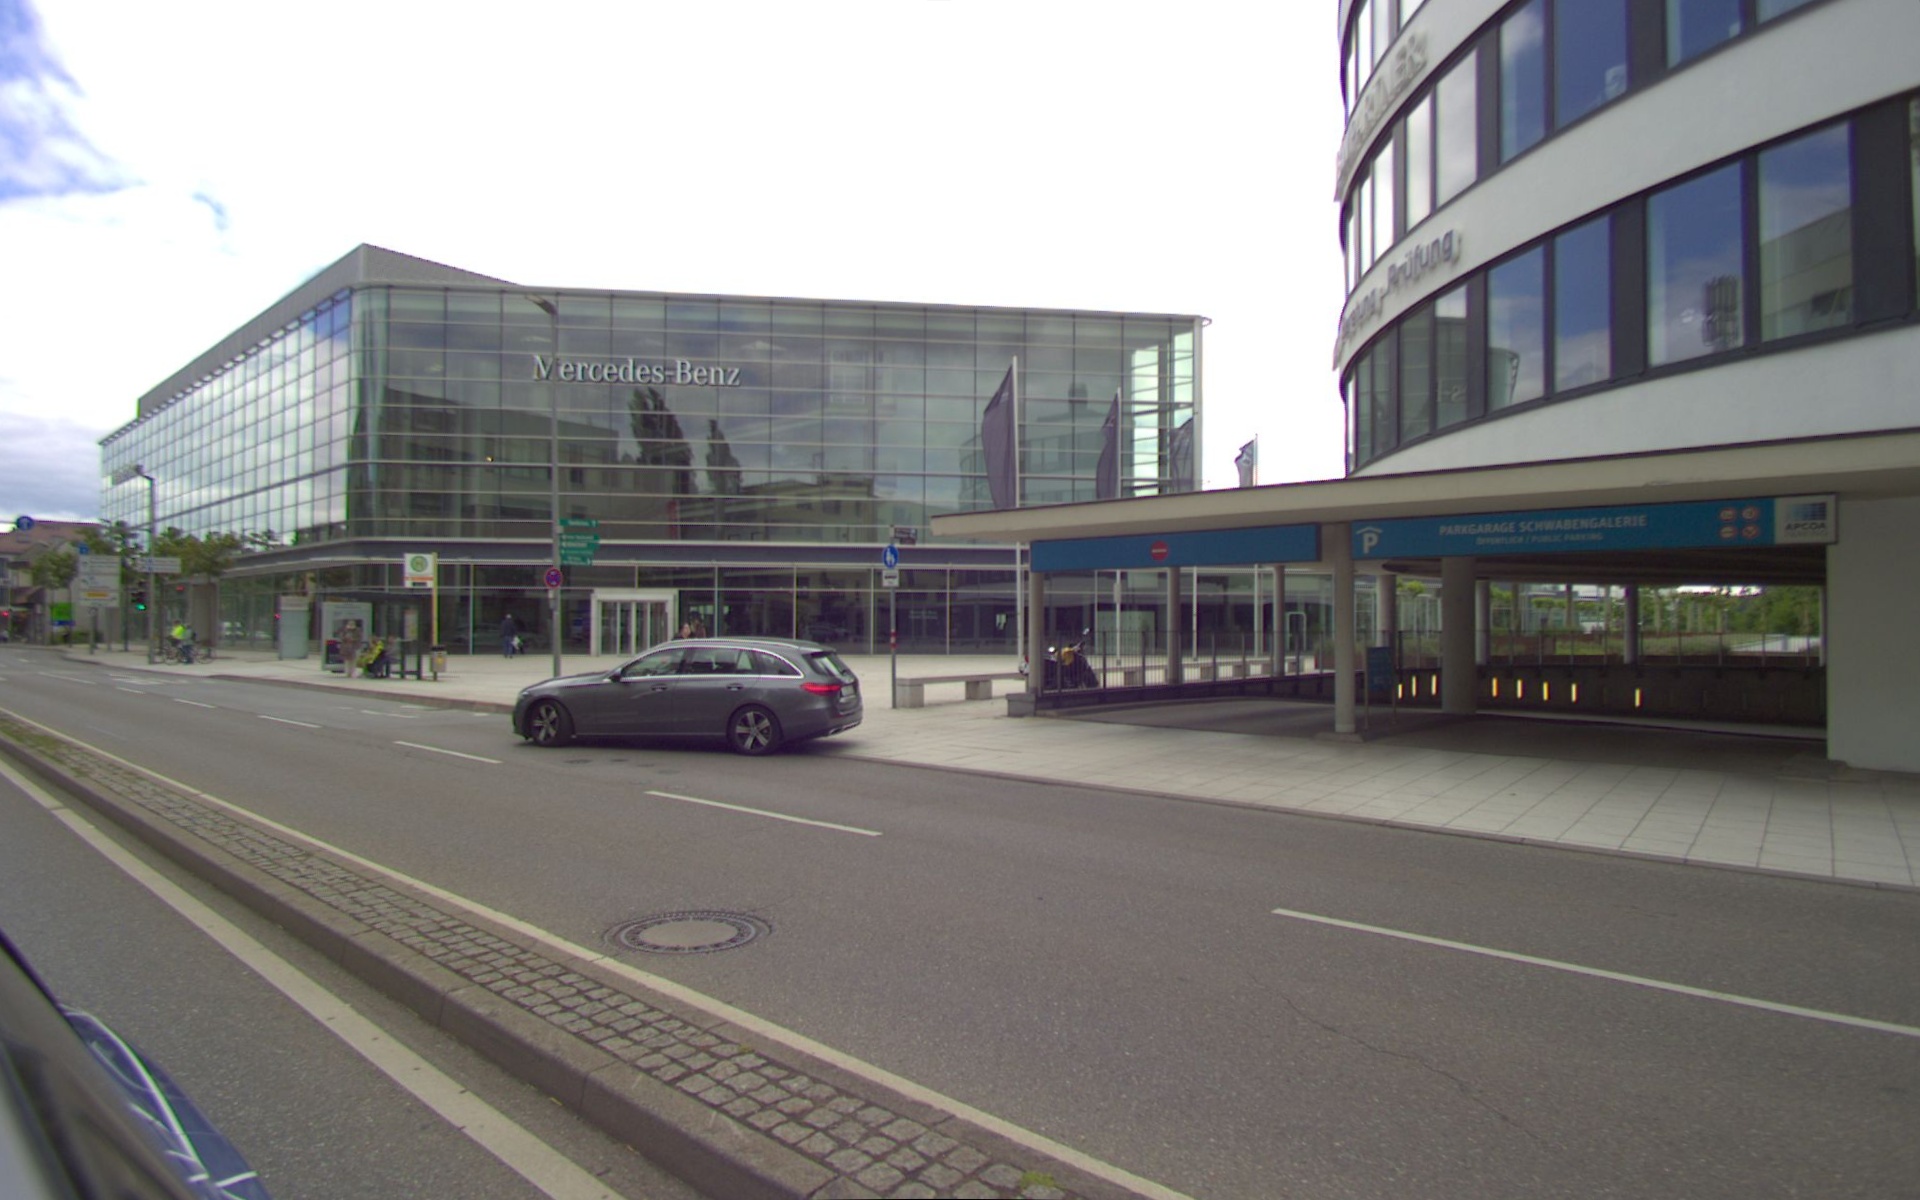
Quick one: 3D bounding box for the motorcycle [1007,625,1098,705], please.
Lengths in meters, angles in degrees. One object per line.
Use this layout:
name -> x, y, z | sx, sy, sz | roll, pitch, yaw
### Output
motorcycle -> 1.728, 1.169, 18.643 | 0.636, 1.343, 1.833 | -1, 0, 44

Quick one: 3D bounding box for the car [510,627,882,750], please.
car -> -3.407, 1.131, 13.469 | 4.420, 1.426, 1.897 | -1, 0, 9

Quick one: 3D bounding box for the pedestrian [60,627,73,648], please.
pedestrian -> -70.874, 2.961, 80.290 | 0.693, 1.636, 0.693 | -2, -3, 41

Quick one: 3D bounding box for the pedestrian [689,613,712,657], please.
pedestrian -> -11.685, 1.576, 45.511 | 0.747, 1.960, 0.680 | -1, -1, 28

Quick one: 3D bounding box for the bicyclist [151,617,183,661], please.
bicyclist -> -34.047, 1.668, 43.478 | 0.762, 1.813, 0.748 | -1, 0, -5

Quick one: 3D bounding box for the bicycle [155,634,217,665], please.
bicycle -> -31.691, 2.011, 41.477 | 1.973, 1.139, 0.640 | -2, 0, -34

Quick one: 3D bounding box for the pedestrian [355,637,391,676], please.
pedestrian -> -16.816, 1.618, 28.986 | 0.576, 1.084, 0.677 | -1, -4, 40

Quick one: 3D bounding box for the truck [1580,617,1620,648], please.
truck -> 53.763, 2.684, 85.001 | 2.384, 2.299, 6.358 | -1, 0, 36

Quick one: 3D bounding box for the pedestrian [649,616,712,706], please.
pedestrian -> -5.108, 1.089, 18.478 | 0.820, 1.579, 0.814 | 0, -1, -44

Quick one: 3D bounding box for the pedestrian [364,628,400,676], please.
pedestrian -> -16.313, 1.471, 28.548 | 0.576, 1.330, 0.677 | -1, -4, 40

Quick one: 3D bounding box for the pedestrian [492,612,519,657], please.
pedestrian -> -19.899, 1.499, 44.326 | 0.740, 1.960, 0.902 | 0, -1, 2

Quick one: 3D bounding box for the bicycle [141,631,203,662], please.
bicycle -> -33.867, 1.985, 43.497 | 2.000, 1.215, 0.748 | -2, 0, -4

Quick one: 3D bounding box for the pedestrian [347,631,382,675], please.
pedestrian -> -17.291, 1.530, 29.393 | 0.576, 1.263, 0.677 | -1, -3, 40

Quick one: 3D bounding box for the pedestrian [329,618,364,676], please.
pedestrian -> -17.929, 1.371, 29.591 | 0.568, 1.643, 0.686 | 1, -2, 0

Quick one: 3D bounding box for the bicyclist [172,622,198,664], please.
bicyclist -> -31.736, 1.736, 41.450 | 0.771, 1.661, 0.640 | -2, 0, -34

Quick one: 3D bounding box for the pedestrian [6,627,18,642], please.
pedestrian -> -94.321, 3.459, 100.696 | 0.577, 1.527, 0.552 | 0, -2, 9
